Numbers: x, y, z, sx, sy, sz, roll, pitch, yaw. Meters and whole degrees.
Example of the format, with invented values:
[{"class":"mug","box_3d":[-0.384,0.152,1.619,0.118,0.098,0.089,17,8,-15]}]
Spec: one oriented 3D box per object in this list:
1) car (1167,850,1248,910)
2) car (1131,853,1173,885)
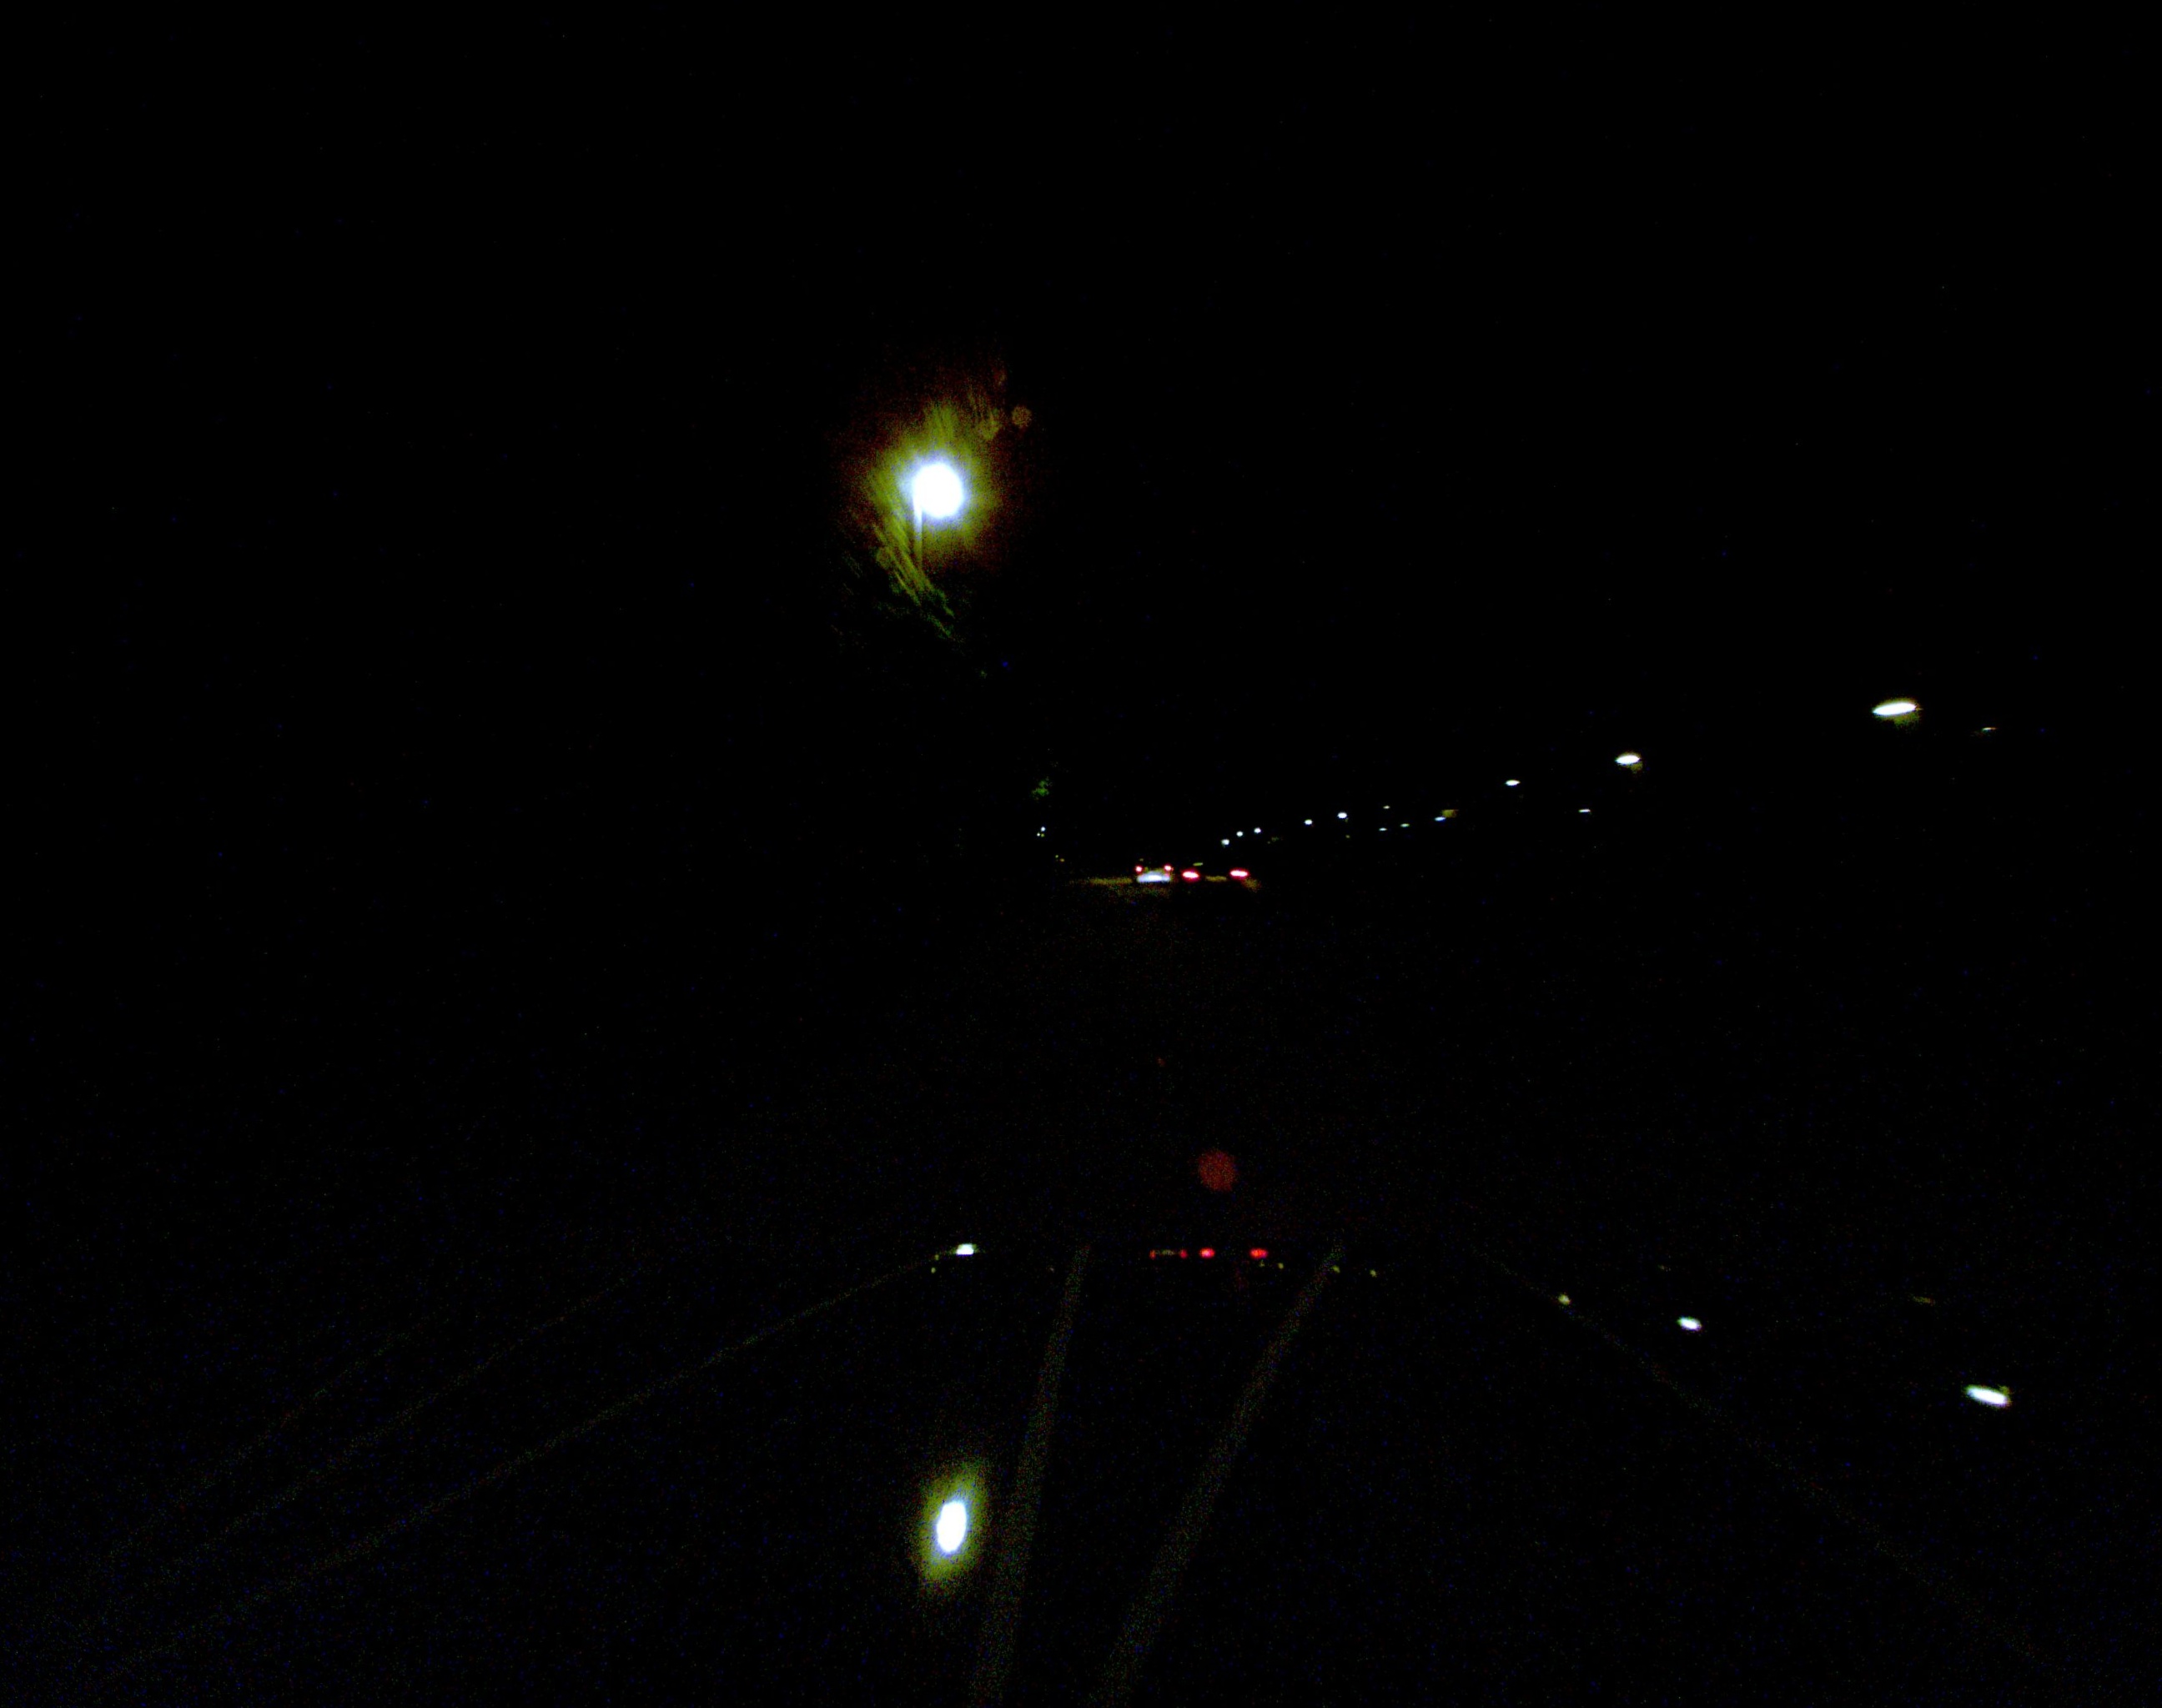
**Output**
[{"class":"car","box_3d":[3.431,0.657,21.163,1.651,1.483,3.557,-2,0,0]},{"class":"car","box_3d":[3.485,0.718,37.870,1.692,1.449,4.000,-2,0,1]}]
